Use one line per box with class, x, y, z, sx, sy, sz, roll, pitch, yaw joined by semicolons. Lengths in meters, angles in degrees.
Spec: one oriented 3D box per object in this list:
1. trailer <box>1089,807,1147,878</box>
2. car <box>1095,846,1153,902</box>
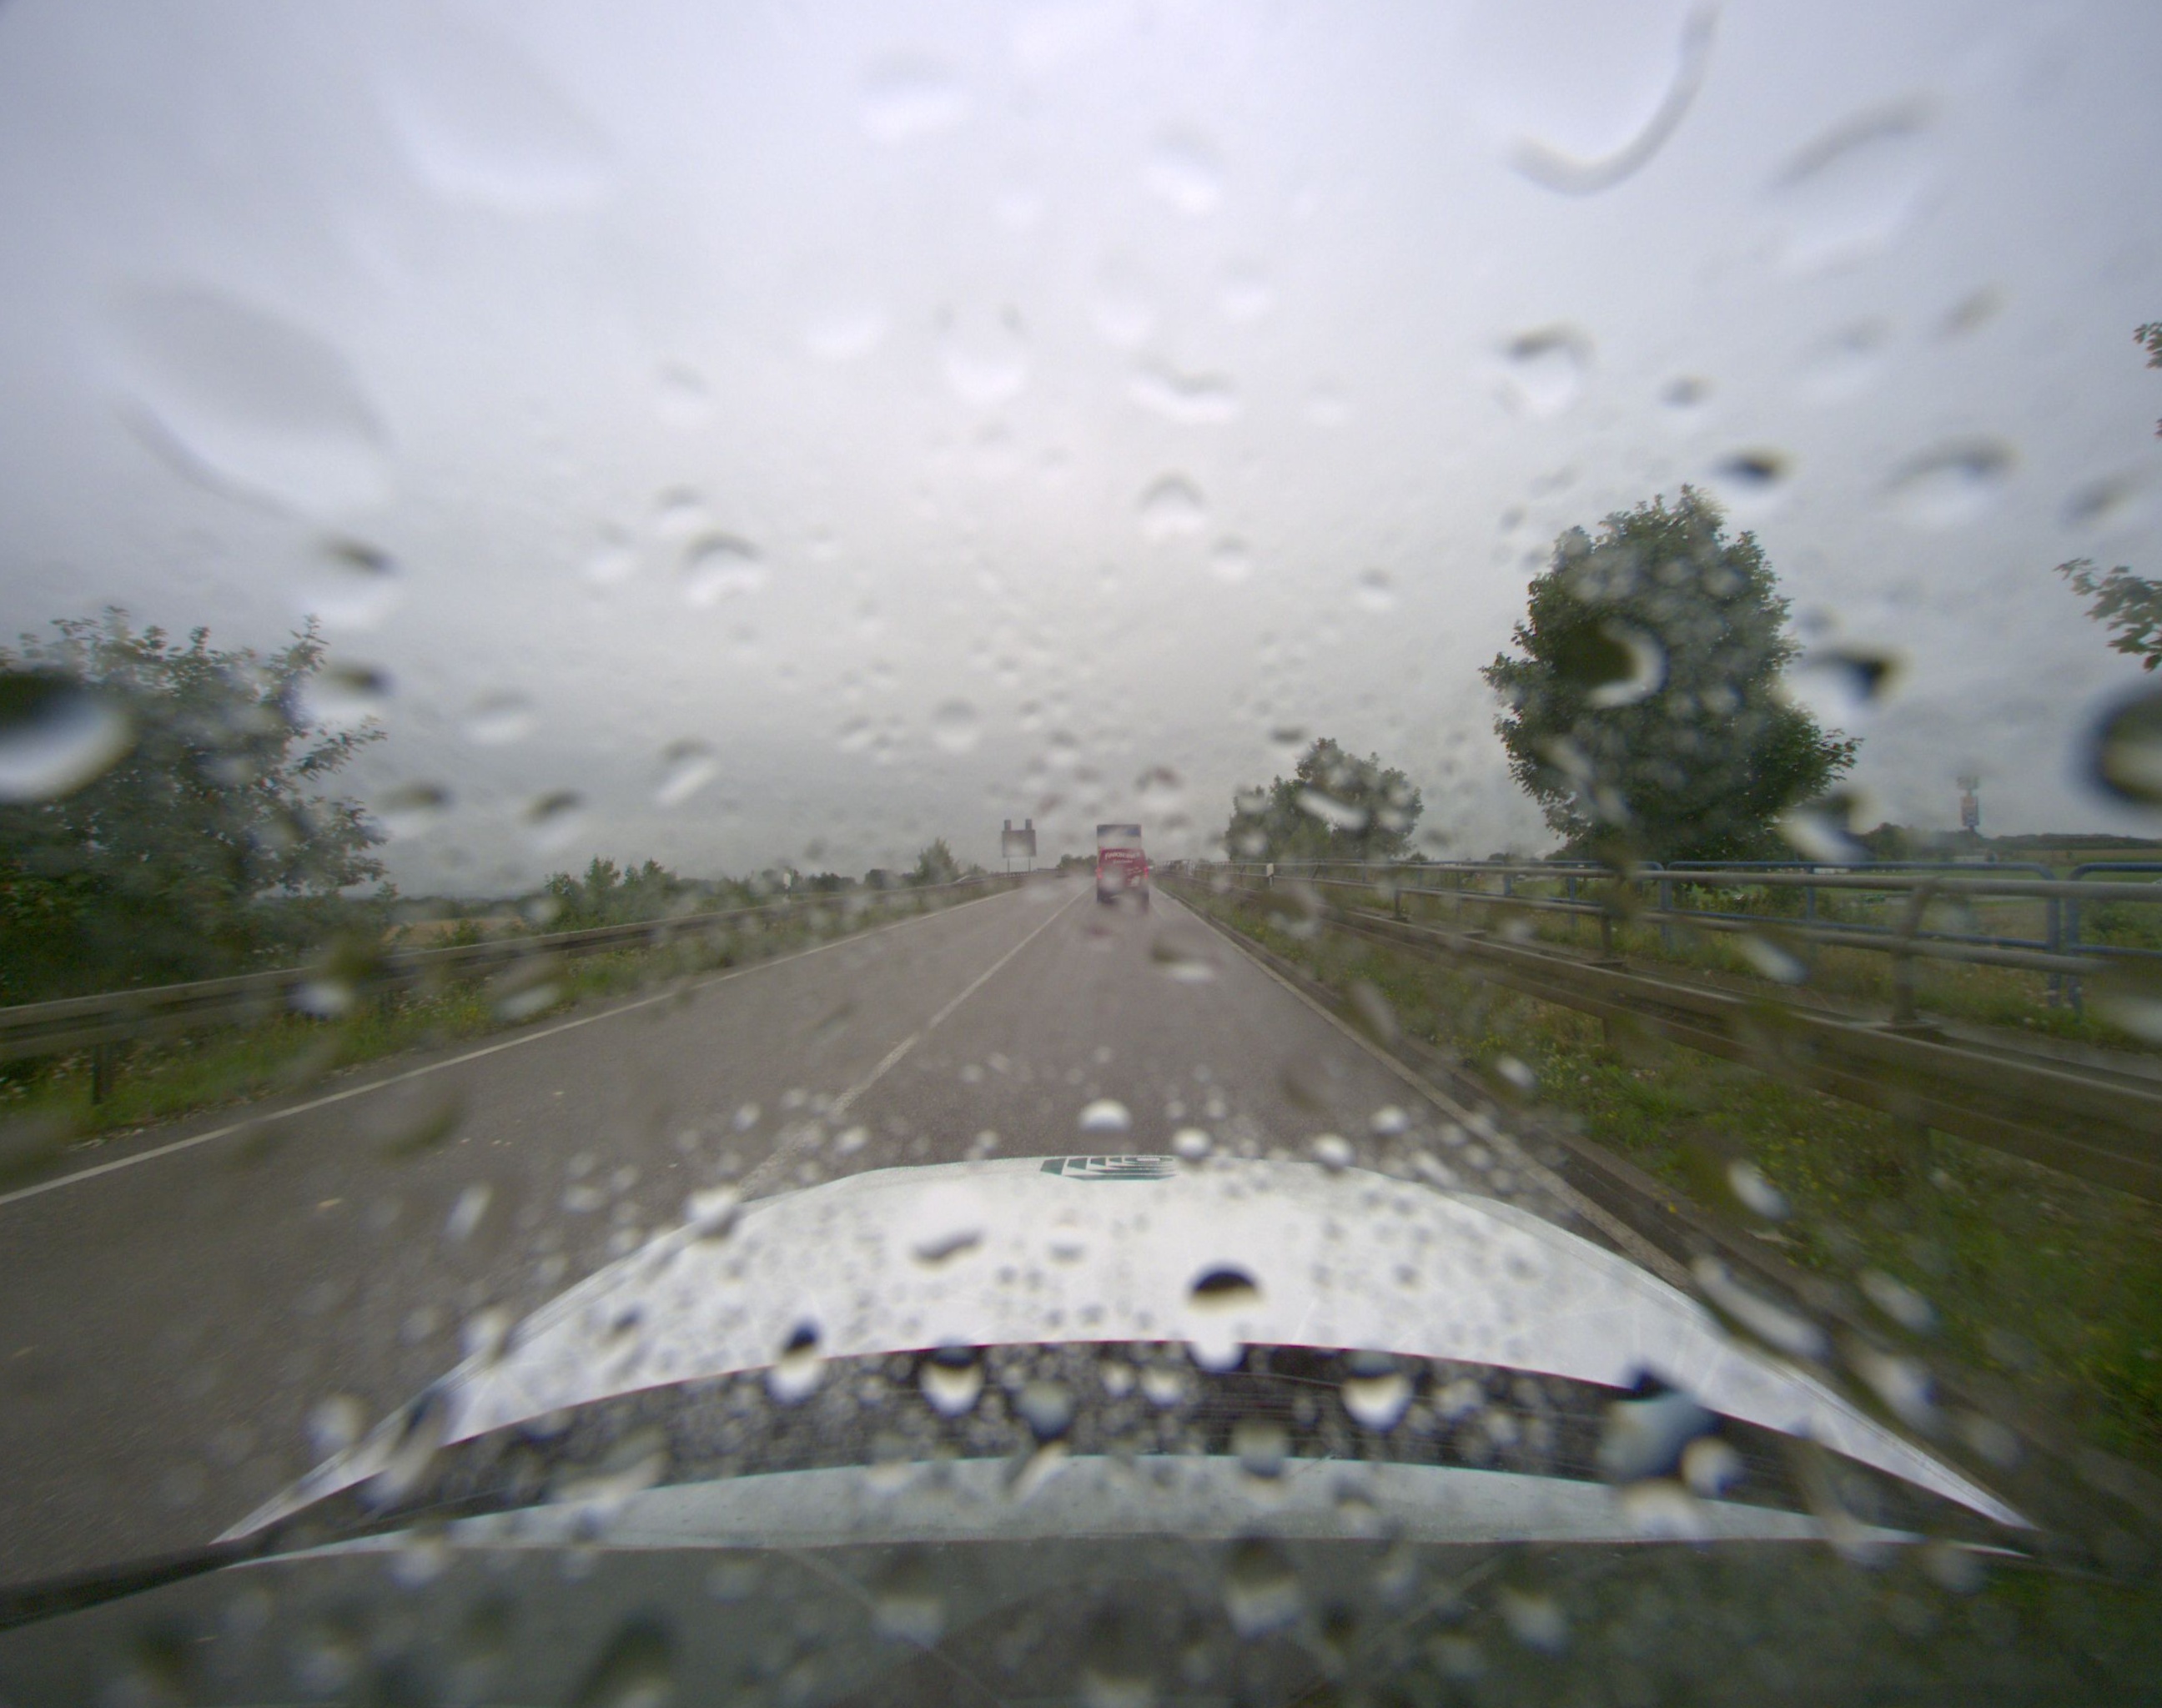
trailer;2.399;-0.537;50.058;3.187;3.922;8.748;1;-2;4
car;1.545;0.703;29.869;1.986;1.926;4.145;0;-1;2
